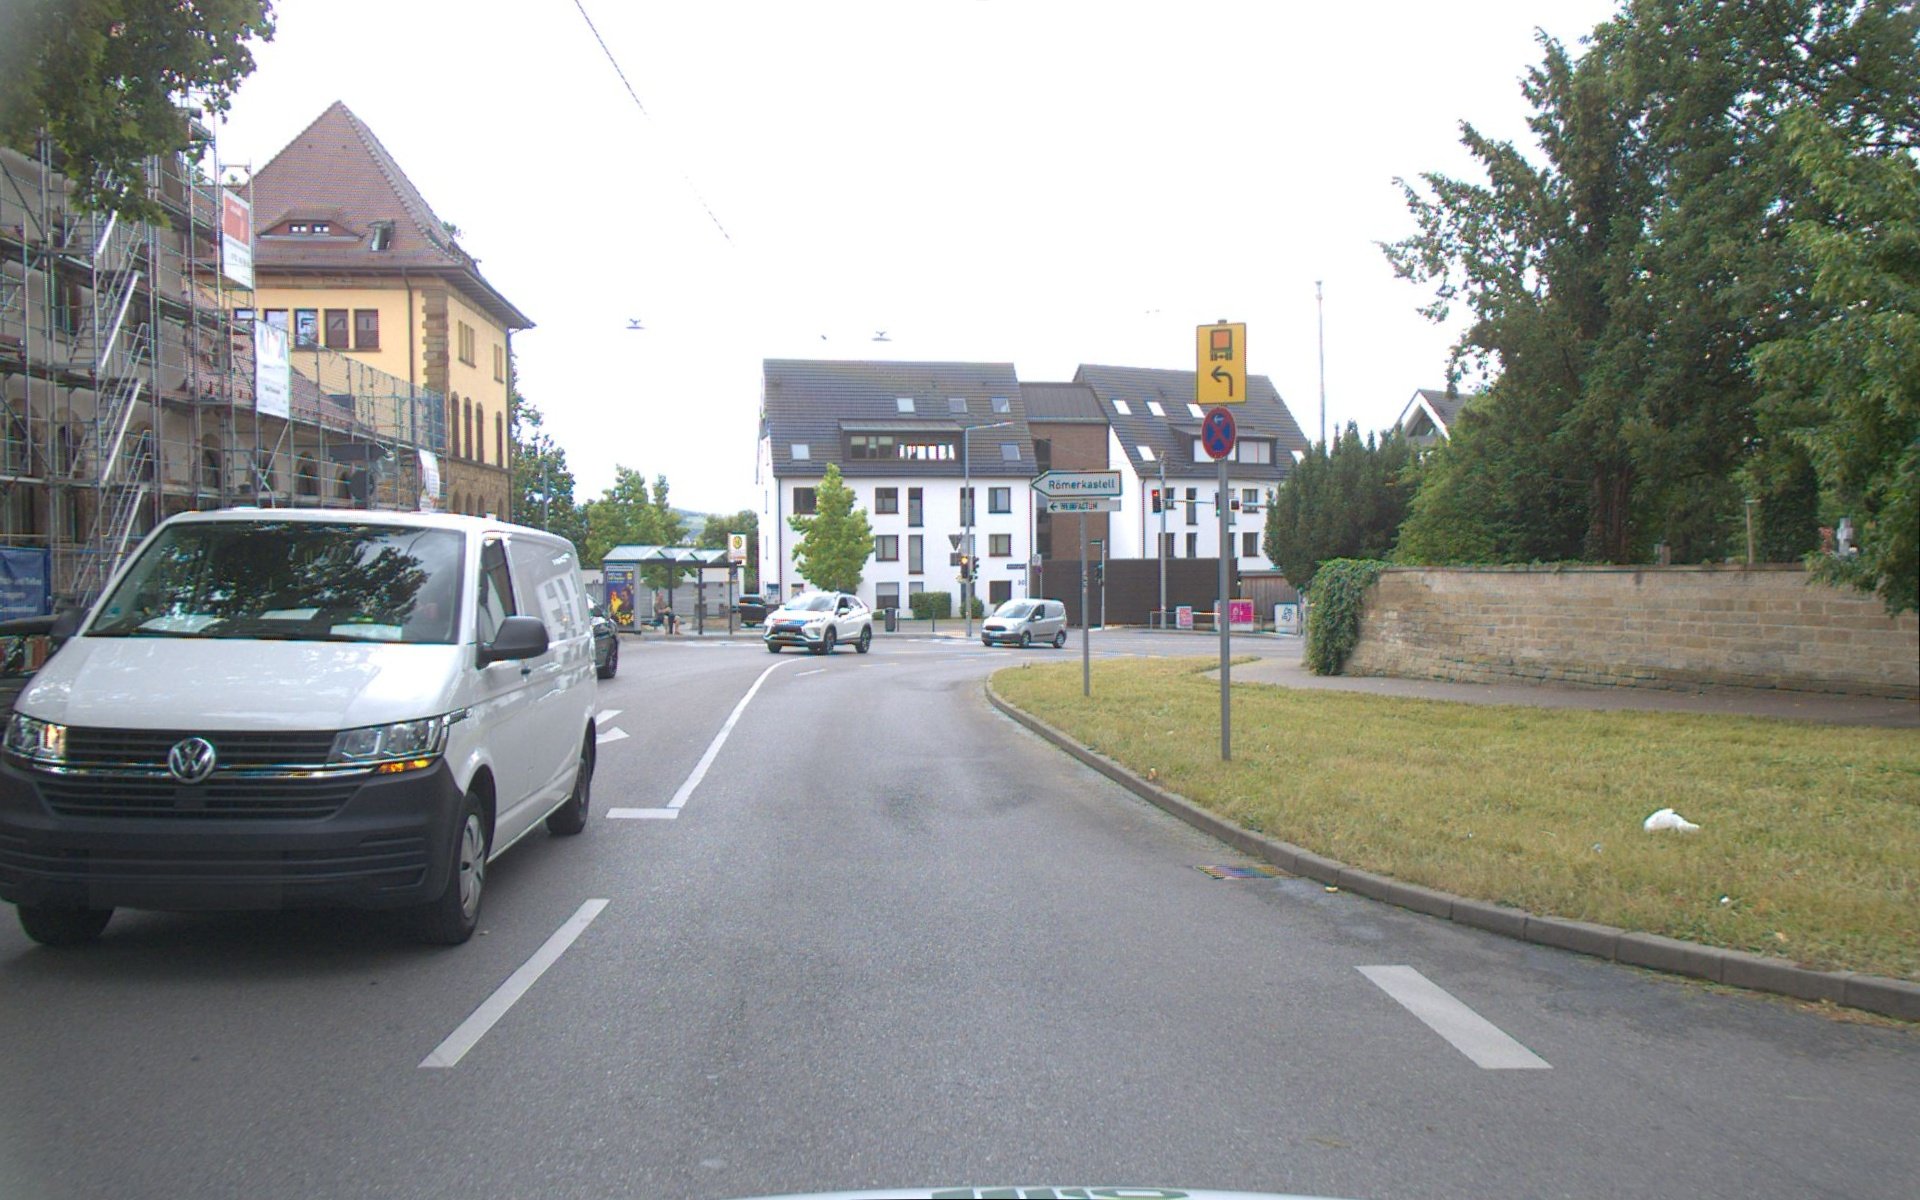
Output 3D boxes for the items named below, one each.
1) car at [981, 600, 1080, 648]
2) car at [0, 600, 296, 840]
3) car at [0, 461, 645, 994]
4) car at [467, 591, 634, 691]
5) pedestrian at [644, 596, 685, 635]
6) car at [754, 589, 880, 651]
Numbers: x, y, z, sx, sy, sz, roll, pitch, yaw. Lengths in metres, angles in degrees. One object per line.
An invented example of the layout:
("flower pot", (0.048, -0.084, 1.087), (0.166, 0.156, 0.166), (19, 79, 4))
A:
("car", (2.574, 0.886, 59.460), (1.663, 1.642, 4.069), (1, -1, 34))
("car", (-6.710, 0.767, 12.639), (1.767, 1.483, 4.630), (-1, 0, -5))
("car", (-3.085, 0.472, 8.810), (2.162, 1.965, 5.235), (-1, 0, -4))
("car", (-6.771, 0.629, 27.862), (1.765, 1.498, 4.847), (-1, 0, -2))
("pedestrian", (-9.486, 0.497, 53.167), (0.913, 1.213, 0.905), (1, -1, 23))
("car", (-3.898, 0.561, 45.918), (1.754, 1.639, 4.509), (0, -1, 20))
